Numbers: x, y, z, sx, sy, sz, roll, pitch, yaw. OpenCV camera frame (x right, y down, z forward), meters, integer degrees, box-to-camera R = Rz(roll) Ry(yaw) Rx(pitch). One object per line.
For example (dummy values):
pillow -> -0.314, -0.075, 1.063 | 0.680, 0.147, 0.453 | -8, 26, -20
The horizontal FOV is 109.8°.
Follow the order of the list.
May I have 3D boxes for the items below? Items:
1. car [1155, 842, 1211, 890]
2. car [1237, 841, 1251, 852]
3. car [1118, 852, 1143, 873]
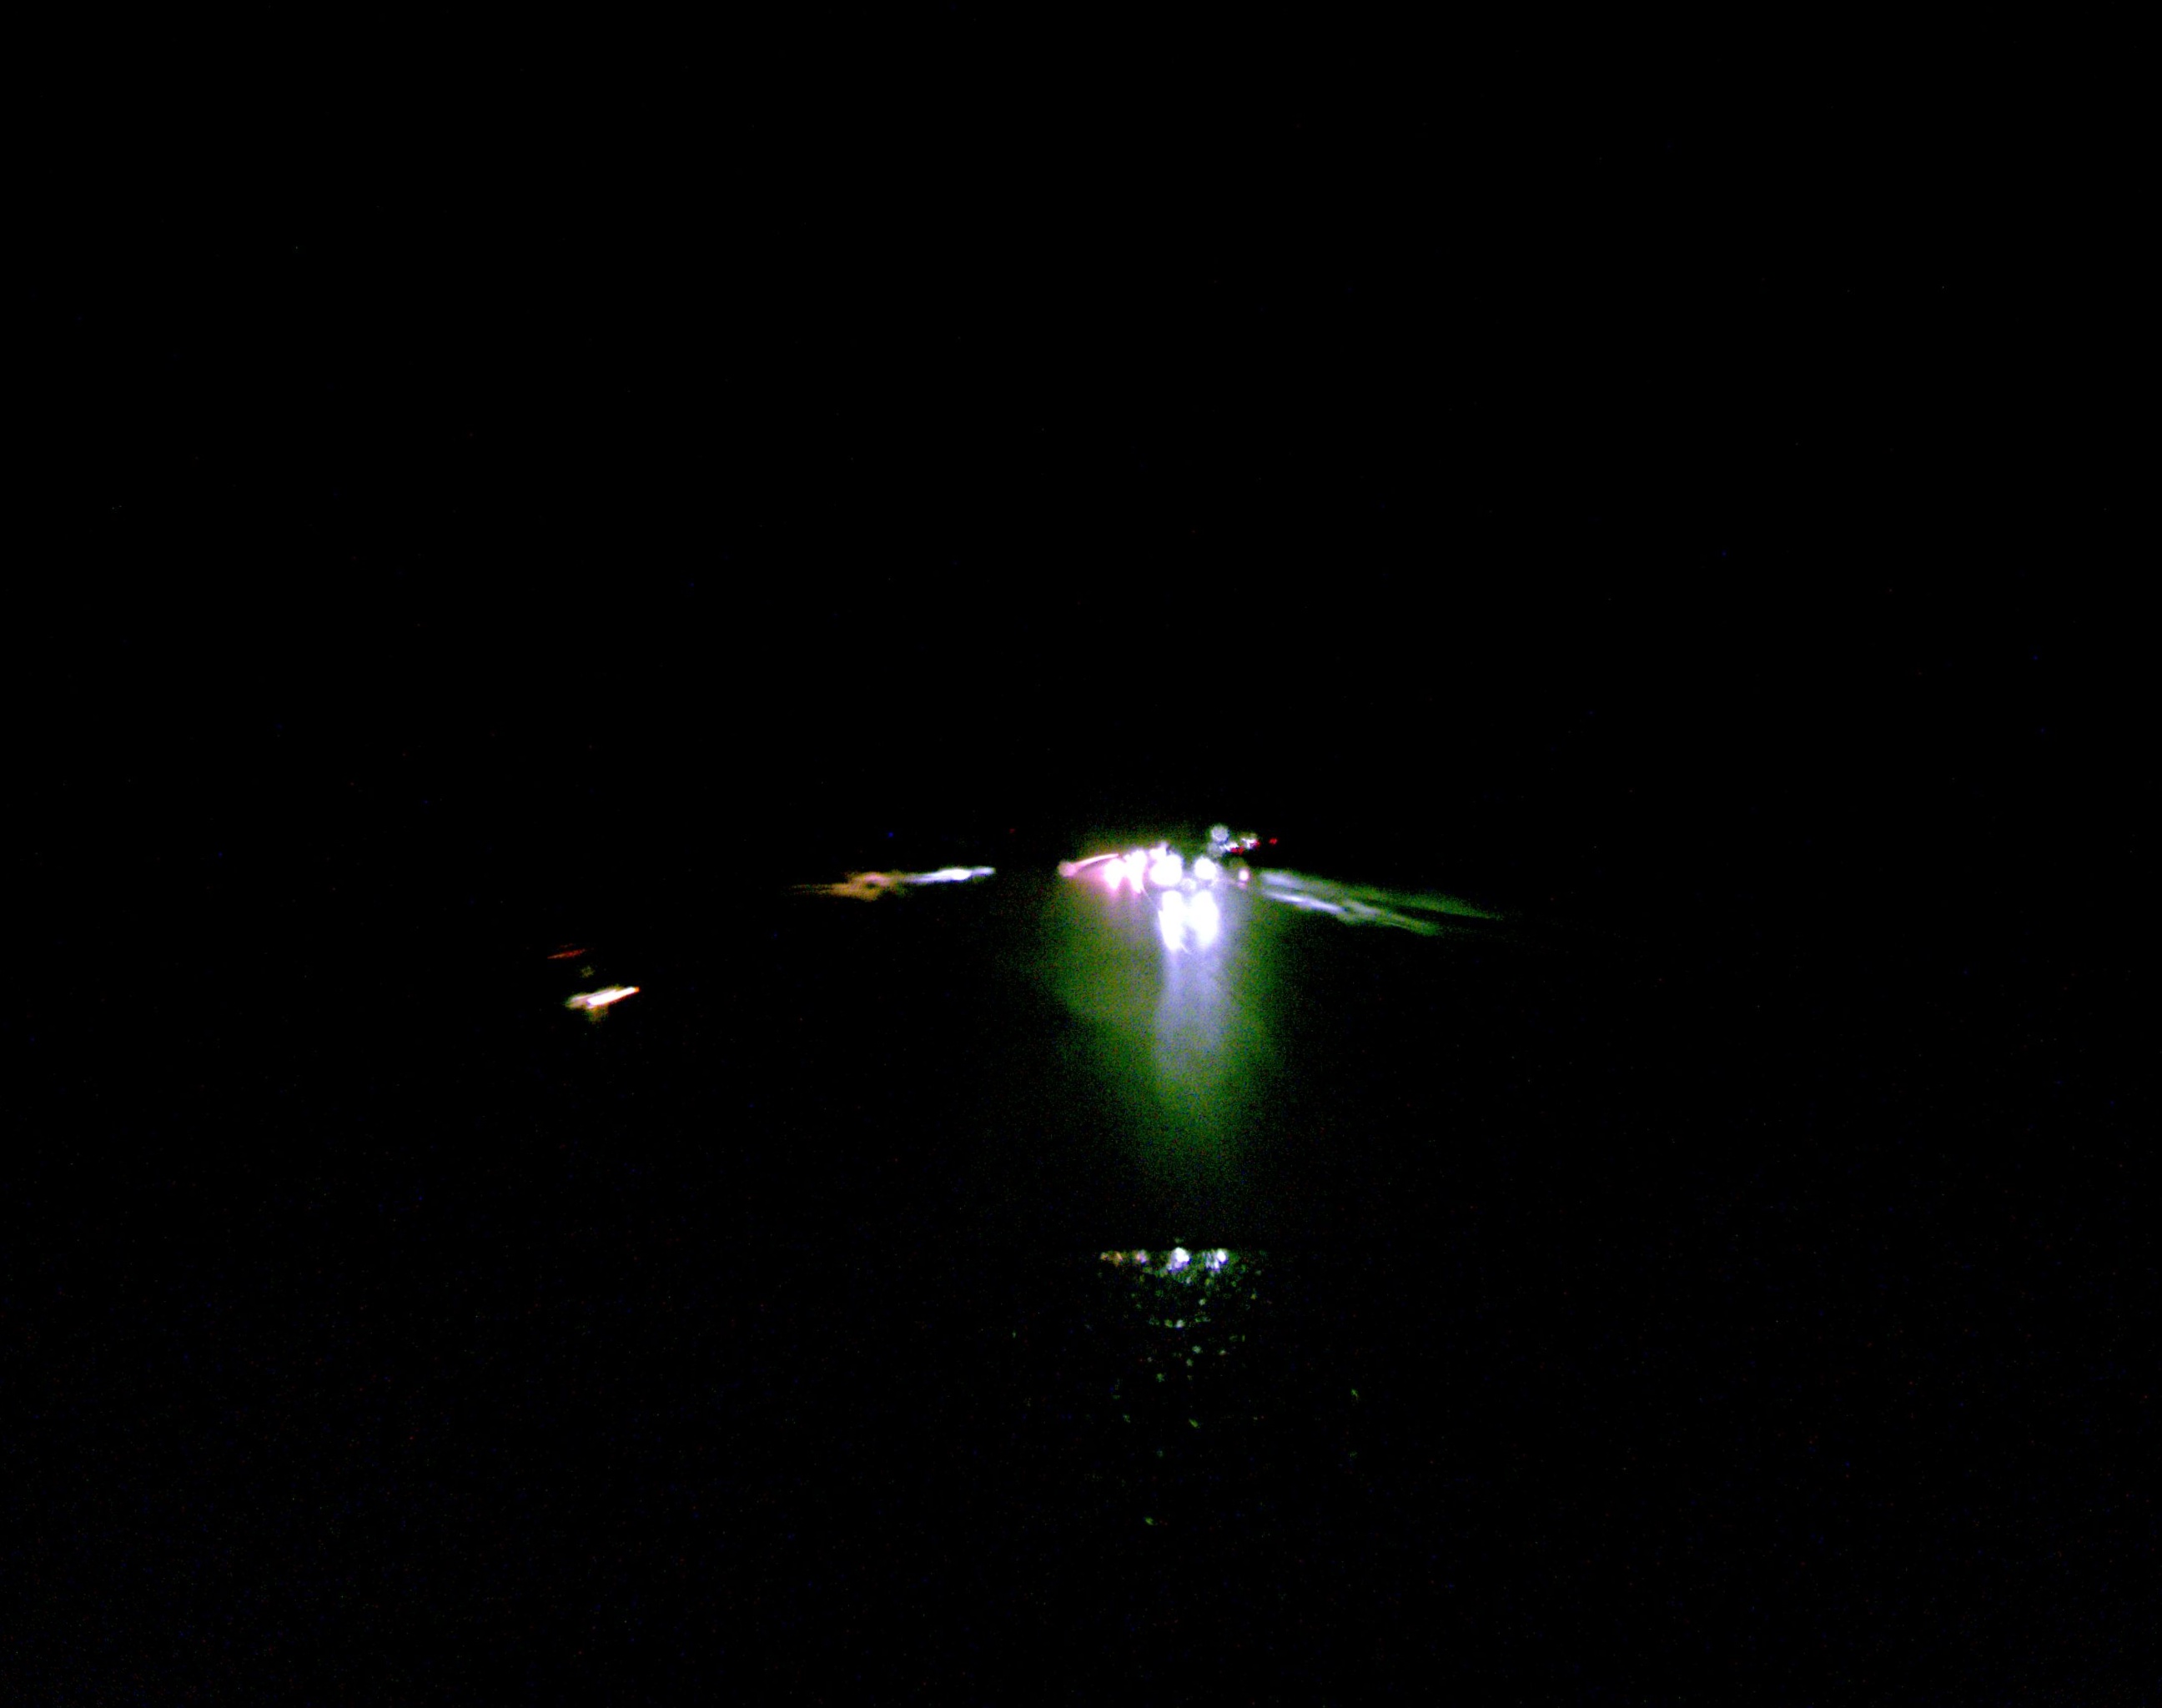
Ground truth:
car -> 4.780, 0.588, 36.191 | 1.998, 2.001, 4.001 | -4, -1, 0
car -> 31.604, -1.426, 147.660 | 1.998, 1.841, 4.002 | -6, -1, 6
car -> 4.463, 0.749, 67.935 | 1.804, 1.608, 4.258 | -3, 1, 9
